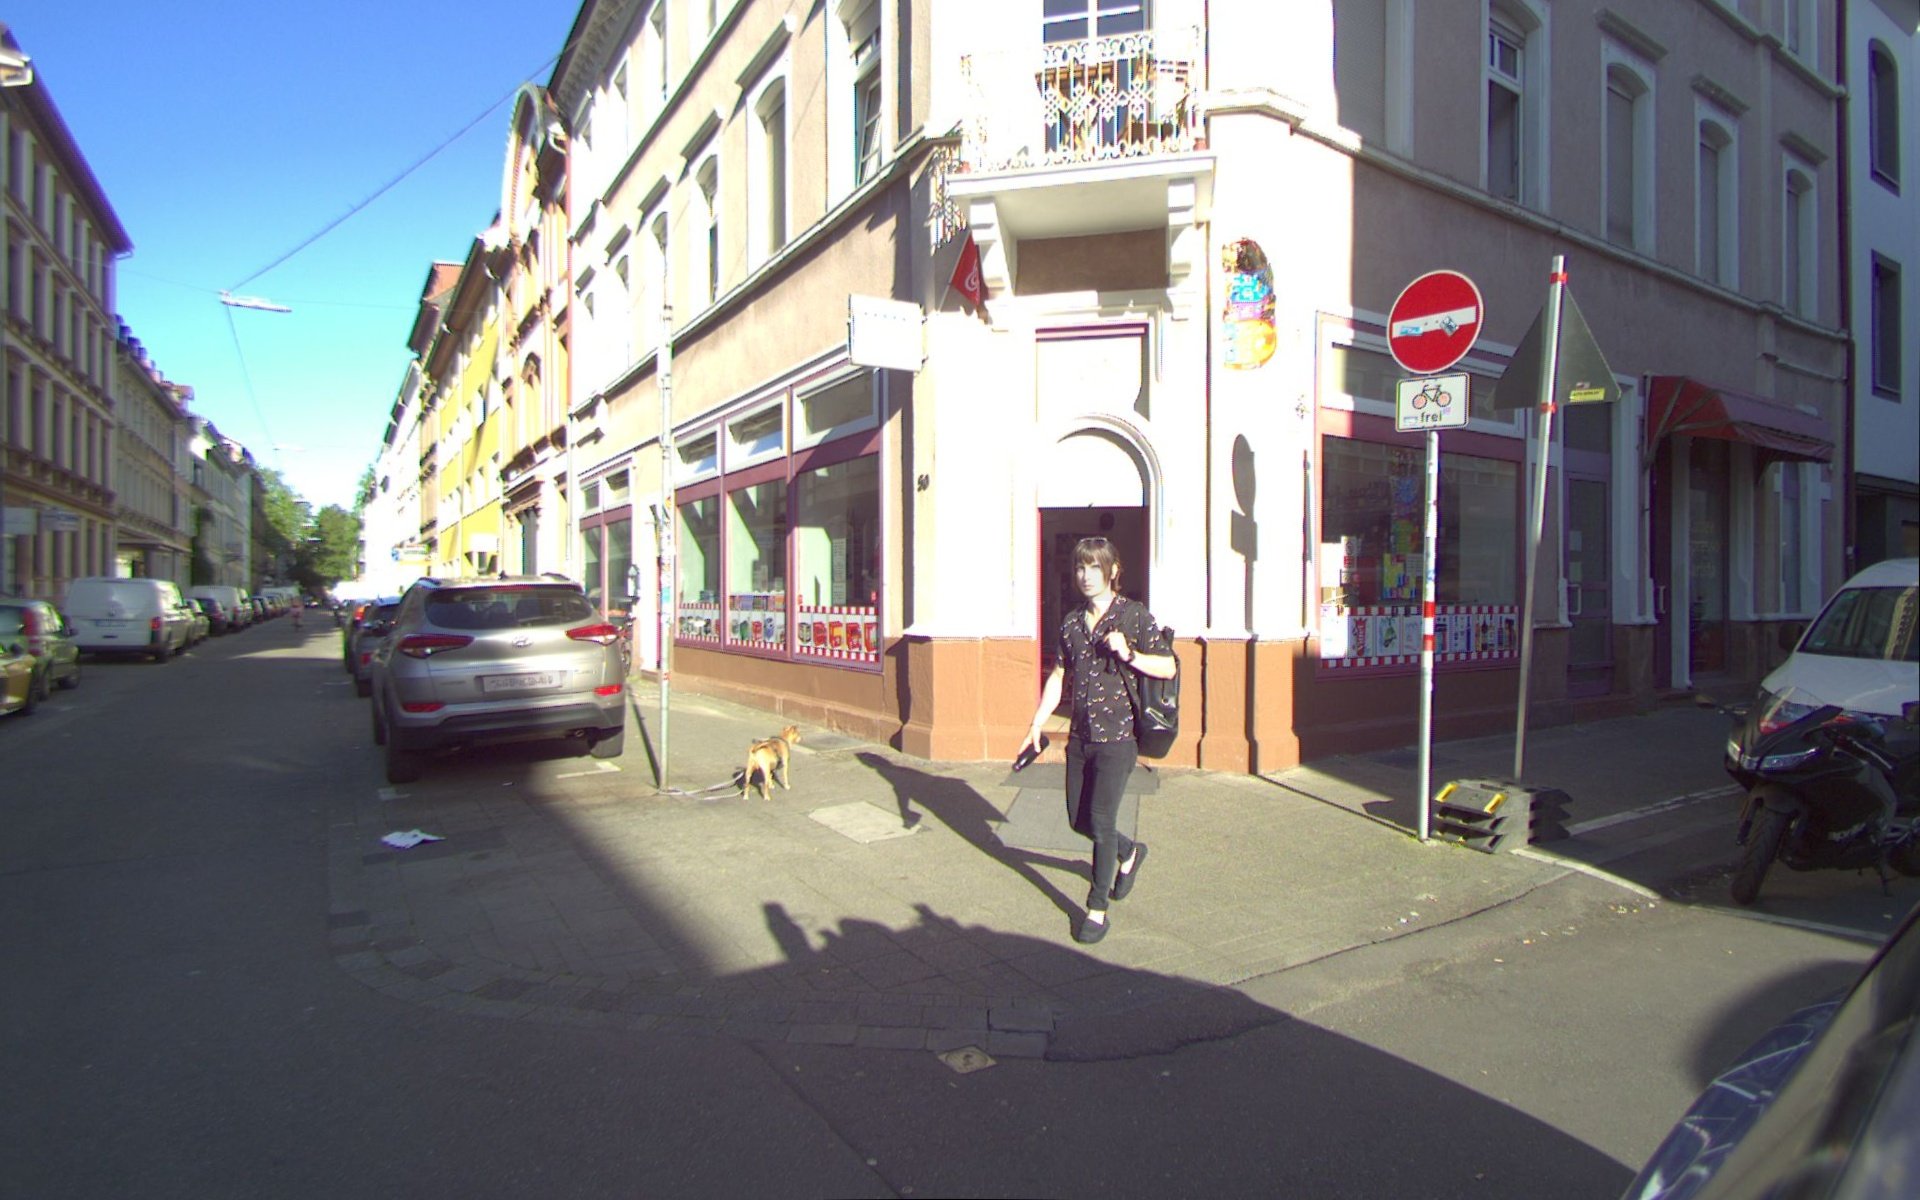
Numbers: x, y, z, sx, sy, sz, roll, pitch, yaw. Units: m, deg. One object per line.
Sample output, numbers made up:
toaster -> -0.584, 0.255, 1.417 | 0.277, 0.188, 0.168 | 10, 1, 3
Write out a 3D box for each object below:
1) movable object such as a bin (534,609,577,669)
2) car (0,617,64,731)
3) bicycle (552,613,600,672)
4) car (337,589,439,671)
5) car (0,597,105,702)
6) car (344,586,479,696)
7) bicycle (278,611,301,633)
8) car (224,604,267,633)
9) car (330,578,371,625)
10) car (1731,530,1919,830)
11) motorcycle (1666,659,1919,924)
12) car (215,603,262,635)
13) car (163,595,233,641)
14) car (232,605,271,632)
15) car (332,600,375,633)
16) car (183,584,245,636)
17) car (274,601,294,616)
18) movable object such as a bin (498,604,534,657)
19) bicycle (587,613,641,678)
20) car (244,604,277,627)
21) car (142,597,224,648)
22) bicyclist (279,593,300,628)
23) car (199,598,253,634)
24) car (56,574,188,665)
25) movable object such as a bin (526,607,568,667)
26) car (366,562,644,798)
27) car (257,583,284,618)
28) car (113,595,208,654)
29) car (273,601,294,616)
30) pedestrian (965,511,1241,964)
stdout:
movable object such as a bin -> -7.888, 0.744, 19.724 | 0.654, 1.131, 0.718 | -1, -1, -31
car -> -12.166, 0.876, 11.912 | 1.722, 1.243, 4.167 | -1, 0, -32
bicycle -> -7.026, 0.758, 18.472 | 0.447, 1.022, 1.645 | 0, -1, -34
car -> -12.502, 0.587, 22.019 | 1.718, 1.531, 3.918 | -4, 2, -32
car -> -15.258, 0.717, 16.167 | 1.721, 1.495, 3.985 | 2, -1, -30
car -> -9.326, 0.603, 17.064 | 1.718, 1.531, 3.918 | -4, 2, -32
bicycle -> -29.314, 0.945, 44.246 | 0.799, 0.914, 2.170 | -1, 0, -33
car -> -41.582, 1.062, 58.975 | 1.718, 1.531, 3.918 | -4, 2, -32
car -> -34.262, 0.087, 56.860 | 1.810, 2.461, 3.918 | -4, 2, -32
car -> 7.635, 0.459, 7.455 | 4.285, 1.839, 1.755 | -1, 2, -33
motorcycle -> 4.874, 0.950, 5.481 | 1.954, 1.099, 0.723 | -1, 4, -22
car -> -38.830, 0.998, 54.519 | 1.718, 1.531, 3.918 | -4, 2, -32
car -> -29.389, 0.669, 39.130 | 1.718, 1.572, 3.918 | -4, 2, -32
car -> -45.191, 1.145, 64.581 | 1.718, 1.531, 3.918 | -4, 2, -32
car -> -30.909, 0.807, 51.537 | 1.718, 1.531, 3.918 | -4, 2, -32
car -> -32.248, 0.409, 43.839 | 1.718, 2.078, 3.918 | -4, 2, -32
car -> -77.838, 0.972, 116.589 | 1.718, 1.531, 3.918 | -4, 2, -32
movable object such as a bin -> -9.897, 0.680, 22.554 | 0.654, 1.147, 0.673 | -1, -1, -31
bicycle -> -5.864, 0.743, 17.102 | 0.447, 1.022, 1.645 | 0, 0, -34
car -> -51.213, 1.102, 74.169 | 1.718, 1.531, 3.918 | -4, 2, -32
car -> -26.380, 0.708, 34.461 | 1.718, 1.531, 3.918 | -4, 2, -32
bicyclist -> -29.292, 0.464, 44.228 | 0.749, 1.489, 1.004 | 0, -1, -33
car -> -35.550, 0.739, 49.087 | 1.718, 1.531, 3.918 | -4, 2, -32
car -> -19.875, 0.424, 24.181 | 1.800, 1.971, 4.555 | 1, 0, -32
movable object such as a bin -> -8.359, 0.741, 20.493 | 0.667, 1.172, 0.569 | 0, -1, -34
car -> -4.447, 0.560, 9.512 | 1.820, 1.652, 4.075 | -3, 1, -32
car -> -62.097, 0.028, 91.186 | 1.718, 2.951, 4.195 | -4, 2, -32
car -> -23.931, 0.679, 30.432 | 1.718, 1.531, 3.918 | -4, 2, -32
car -> -75.179, 0.974, 112.427 | 1.718, 1.531, 3.918 | -4, 2, -32
pedestrian -> 0.666, 0.520, 4.670 | 0.826, 1.814, 0.975 | 3, 3, 43
